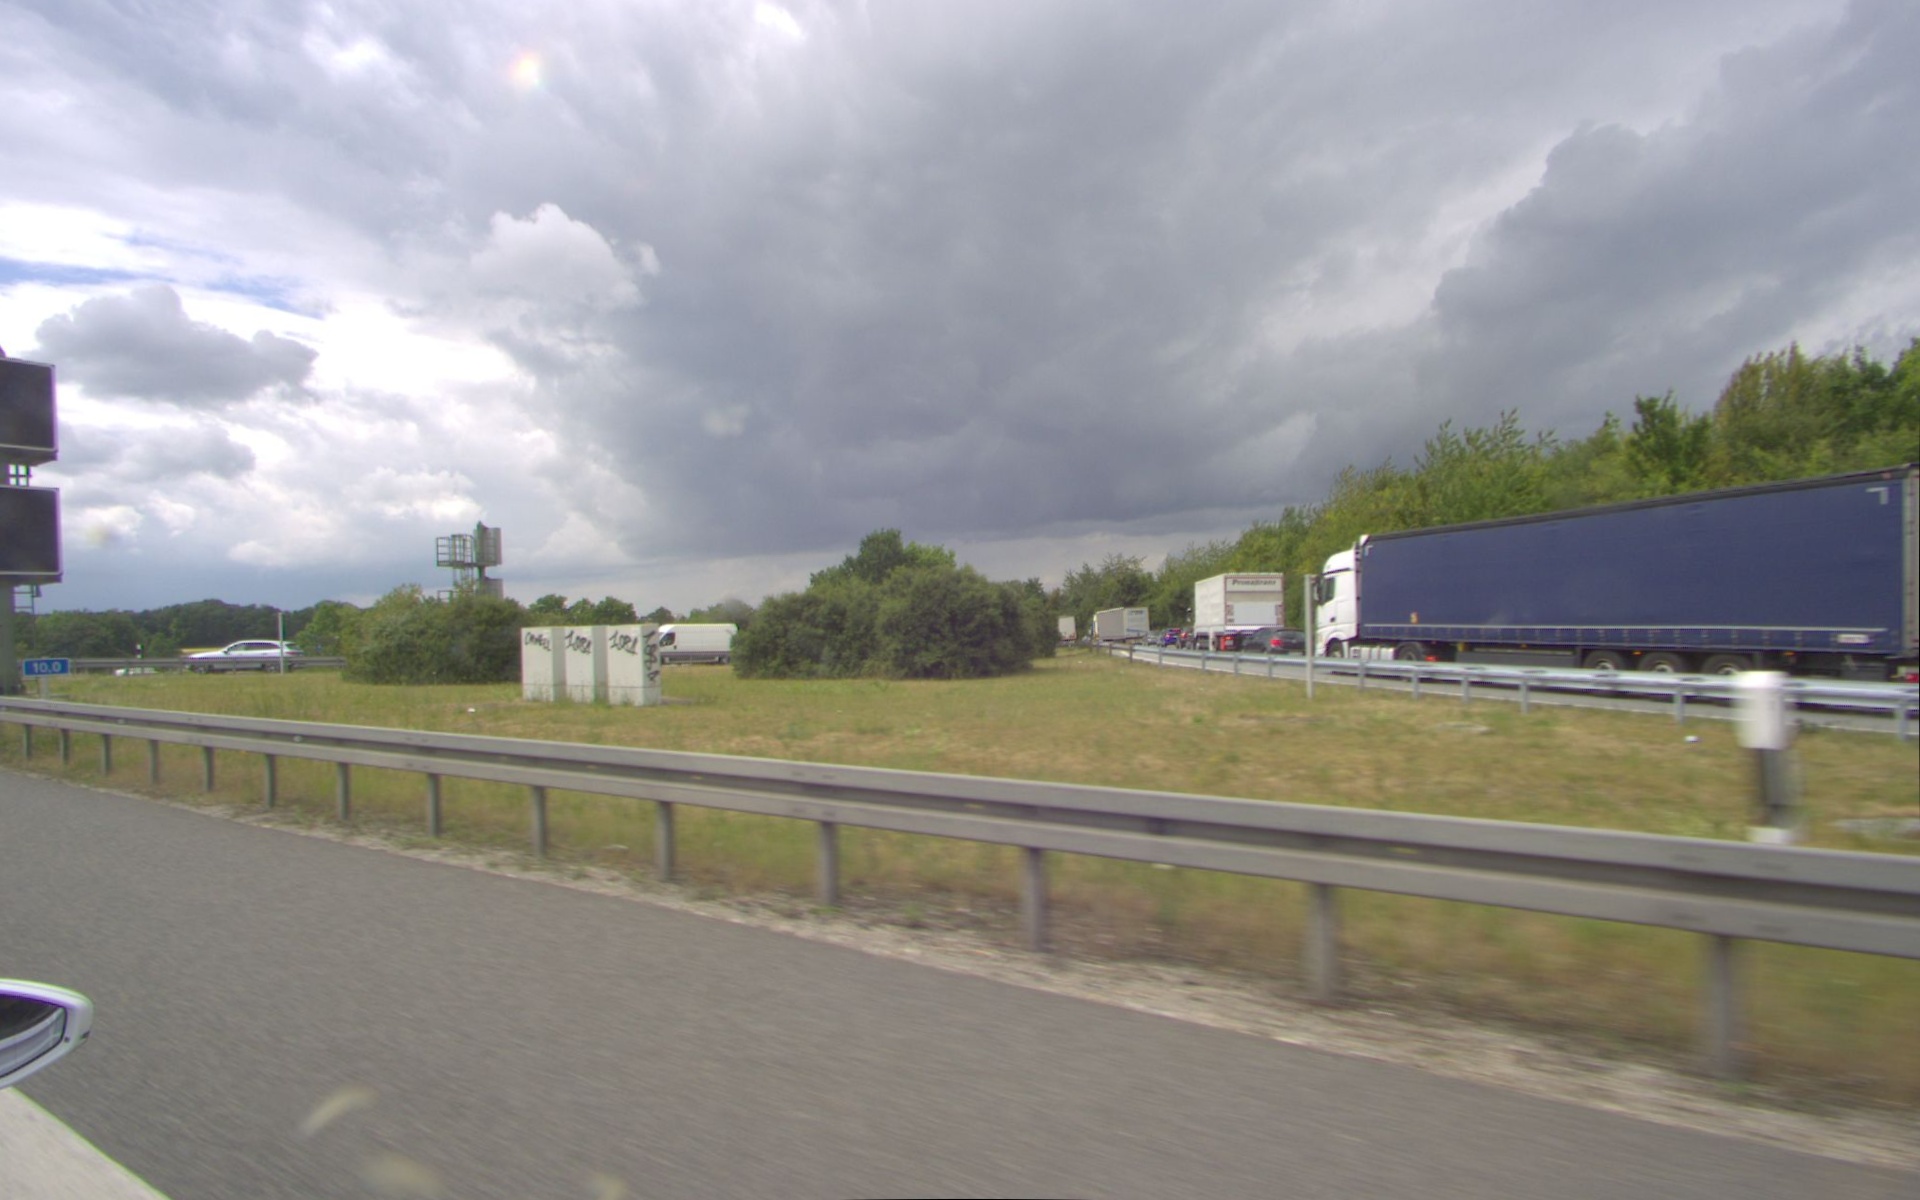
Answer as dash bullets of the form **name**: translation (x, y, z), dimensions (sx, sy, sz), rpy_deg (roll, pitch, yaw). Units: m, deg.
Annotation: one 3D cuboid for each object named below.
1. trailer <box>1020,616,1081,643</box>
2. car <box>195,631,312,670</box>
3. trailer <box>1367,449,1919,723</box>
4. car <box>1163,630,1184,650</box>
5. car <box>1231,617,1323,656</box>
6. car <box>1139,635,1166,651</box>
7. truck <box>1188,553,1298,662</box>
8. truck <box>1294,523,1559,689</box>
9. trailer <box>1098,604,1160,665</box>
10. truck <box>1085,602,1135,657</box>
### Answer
- **trailer**: translation (11.857, 3.987, 132.513), dimensions (3.082, 3.492, 11.658), rpy_deg (1, -2, -22)
- **car**: translation (-33.780, 2.399, 47.996), dimensions (4.133, 1.706, 1.940), rpy_deg (0, -1, -16)
- **trailer**: translation (14.705, -0.018, 22.247), dimensions (3.281, 4.246, 13.017), rpy_deg (0, -2, -15)
- **car**: translation (16.518, 3.119, 77.588), dimensions (1.471, 1.487, 4.000), rpy_deg (0, -2, 11)
- **car**: translation (12.031, 1.352, 38.332), dimensions (1.854, 1.380, 4.788), rpy_deg (-1, -1, -2)
- **car**: translation (18.084, 4.053, 94.313), dimensions (1.798, 1.505, 4.002), rpy_deg (0, -2, 1)
- **truck**: translation (13.121, 0.510, 47.384), dimensions (3.219, 4.674, 8.996), rpy_deg (0, -2, 4)
- **truck**: translation (13.023, 0.258, 28.749), dimensions (3.310, 4.147, 6.781), rpy_deg (0, -1, -15)
- **trailer**: translation (17.852, 3.681, 106.856), dimensions (3.940, 6.165, 12.101), rpy_deg (0, -2, -3)
- **truck**: translation (17.312, 3.459, 116.550), dimensions (3.990, 6.149, 8.982), rpy_deg (0, -2, -4)
